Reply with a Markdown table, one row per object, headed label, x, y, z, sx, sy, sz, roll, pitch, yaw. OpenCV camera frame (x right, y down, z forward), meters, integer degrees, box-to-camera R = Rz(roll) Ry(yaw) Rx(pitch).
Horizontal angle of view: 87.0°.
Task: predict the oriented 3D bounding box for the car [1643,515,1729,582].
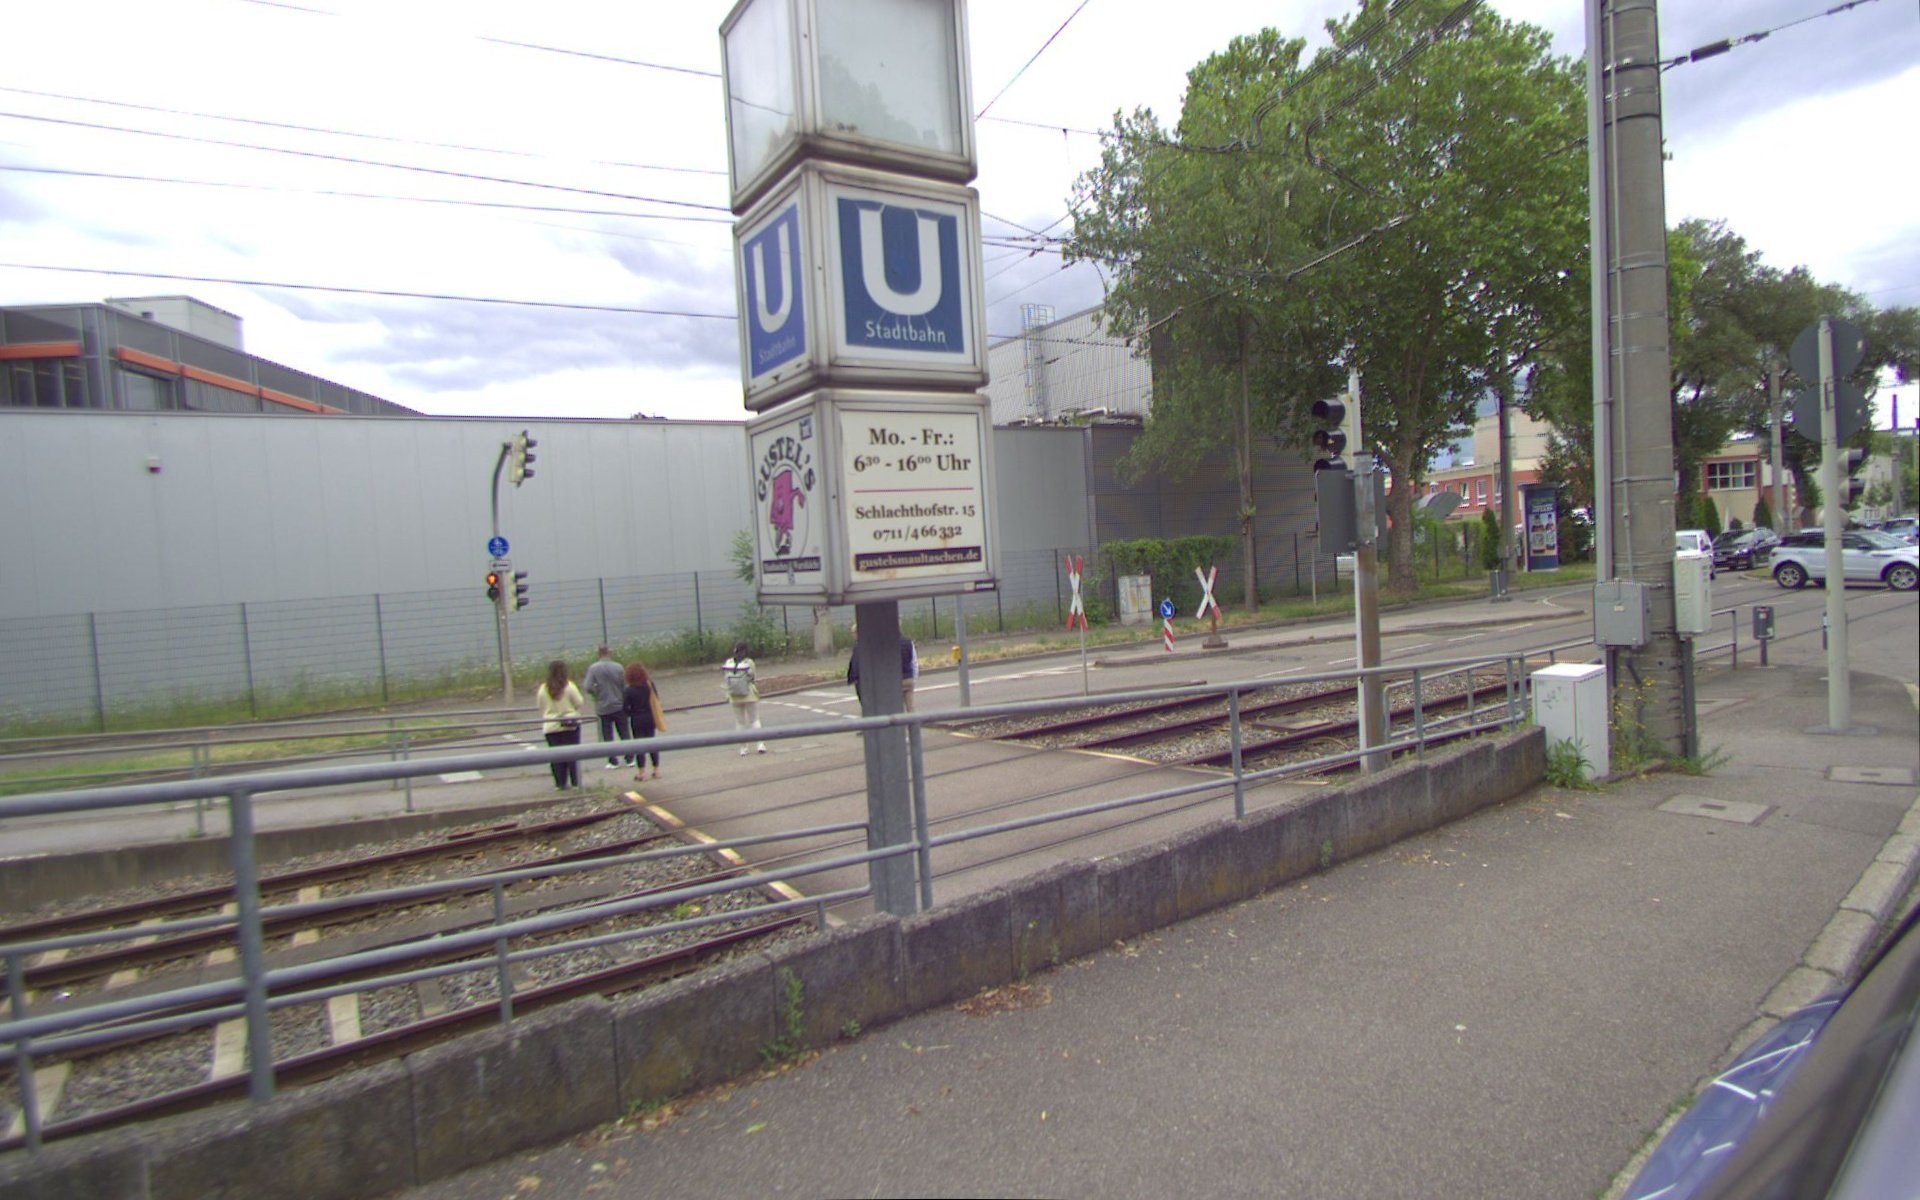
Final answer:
| label | x | y | z | sx | sy | sz | roll | pitch | yaw |
| --- | --- | --- | --- | --- | --- | --- | --- | --- | --- |
| car | 25.358 | -1.812 | 35.264 | 1.990 | 2.027 | 4.965 | -4 | 1 | 40 |

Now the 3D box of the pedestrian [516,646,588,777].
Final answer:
| label | x | y | z | sx | sy | sz | roll | pitch | yaw |
| --- | --- | --- | --- | --- | --- | --- | --- | --- | --- |
| pedestrian | -5.673 | 1.520 | 14.059 | 0.723 | 1.685 | 0.682 | -5 | -1 | -29 |

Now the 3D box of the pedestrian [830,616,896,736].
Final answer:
| label | x | y | z | sx | sy | sz | roll | pitch | yaw |
| --- | --- | --- | --- | --- | --- | --- | --- | --- | --- |
| pedestrian | -1.458 | 1.129 | 15.301 | 0.725 | 1.685 | 0.680 | -6 | -1 | 7 |

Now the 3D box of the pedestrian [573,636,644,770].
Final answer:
| label | x | y | z | sx | sy | sz | roll | pitch | yaw |
| --- | --- | --- | --- | --- | --- | --- | --- | --- | --- |
| pedestrian | -4.991 | 1.441 | 14.375 | 0.723 | 1.780 | 0.552 | -5 | -1 | -29 |

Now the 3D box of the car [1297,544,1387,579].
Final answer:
| label | x | y | z | sx | sy | sz | roll | pitch | yaw |
| --- | --- | --- | --- | --- | --- | --- | --- | --- | --- |
| car | 22.390 | -2.244 | 59.438 | 4.412 | 1.685 | 2.003 | -4 | 2 | -6 |

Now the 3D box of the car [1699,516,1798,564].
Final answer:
| label | x | y | z | sx | sy | sz | roll | pitch | yaw |
| --- | --- | --- | --- | --- | --- | --- | --- | --- | --- |
| car | 32.251 | -2.456 | 41.340 | 4.479 | 1.575 | 1.999 | -6 | 1 | -36 |

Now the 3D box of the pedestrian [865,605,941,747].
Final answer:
| label | x | y | z | sx | sy | sz | roll | pitch | yaw |
| --- | --- | --- | --- | --- | --- | --- | --- | --- | --- |
| pedestrian | -0.796 | 1.021 | 14.047 | 0.657 | 1.842 | 0.806 | -5 | 3 | -29 |

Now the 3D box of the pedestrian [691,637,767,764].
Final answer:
| label | x | y | z | sx | sy | sz | roll | pitch | yaw |
| --- | --- | --- | --- | --- | --- | --- | --- | --- | --- |
| pedestrian | -3.313 | 1.423 | 14.506 | 0.724 | 1.685 | 0.681 | -5 | -1 | -35 |

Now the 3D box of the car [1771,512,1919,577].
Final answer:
| label | x | y | z | sx | sy | sz | roll | pitch | yaw |
| --- | --- | --- | --- | --- | --- | --- | --- | --- | --- |
| car | 25.601 | -1.514 | 28.209 | 1.958 | 1.710 | 4.278 | -2 | 2 | -22 |

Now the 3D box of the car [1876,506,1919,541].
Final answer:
| label | x | y | z | sx | sy | sz | roll | pitch | yaw |
| --- | --- | --- | --- | --- | --- | --- | --- | --- | --- |
| car | 50.350 | -4.112 | 53.467 | 4.479 | 1.575 | 1.999 | -6 | 1 | -36 |
